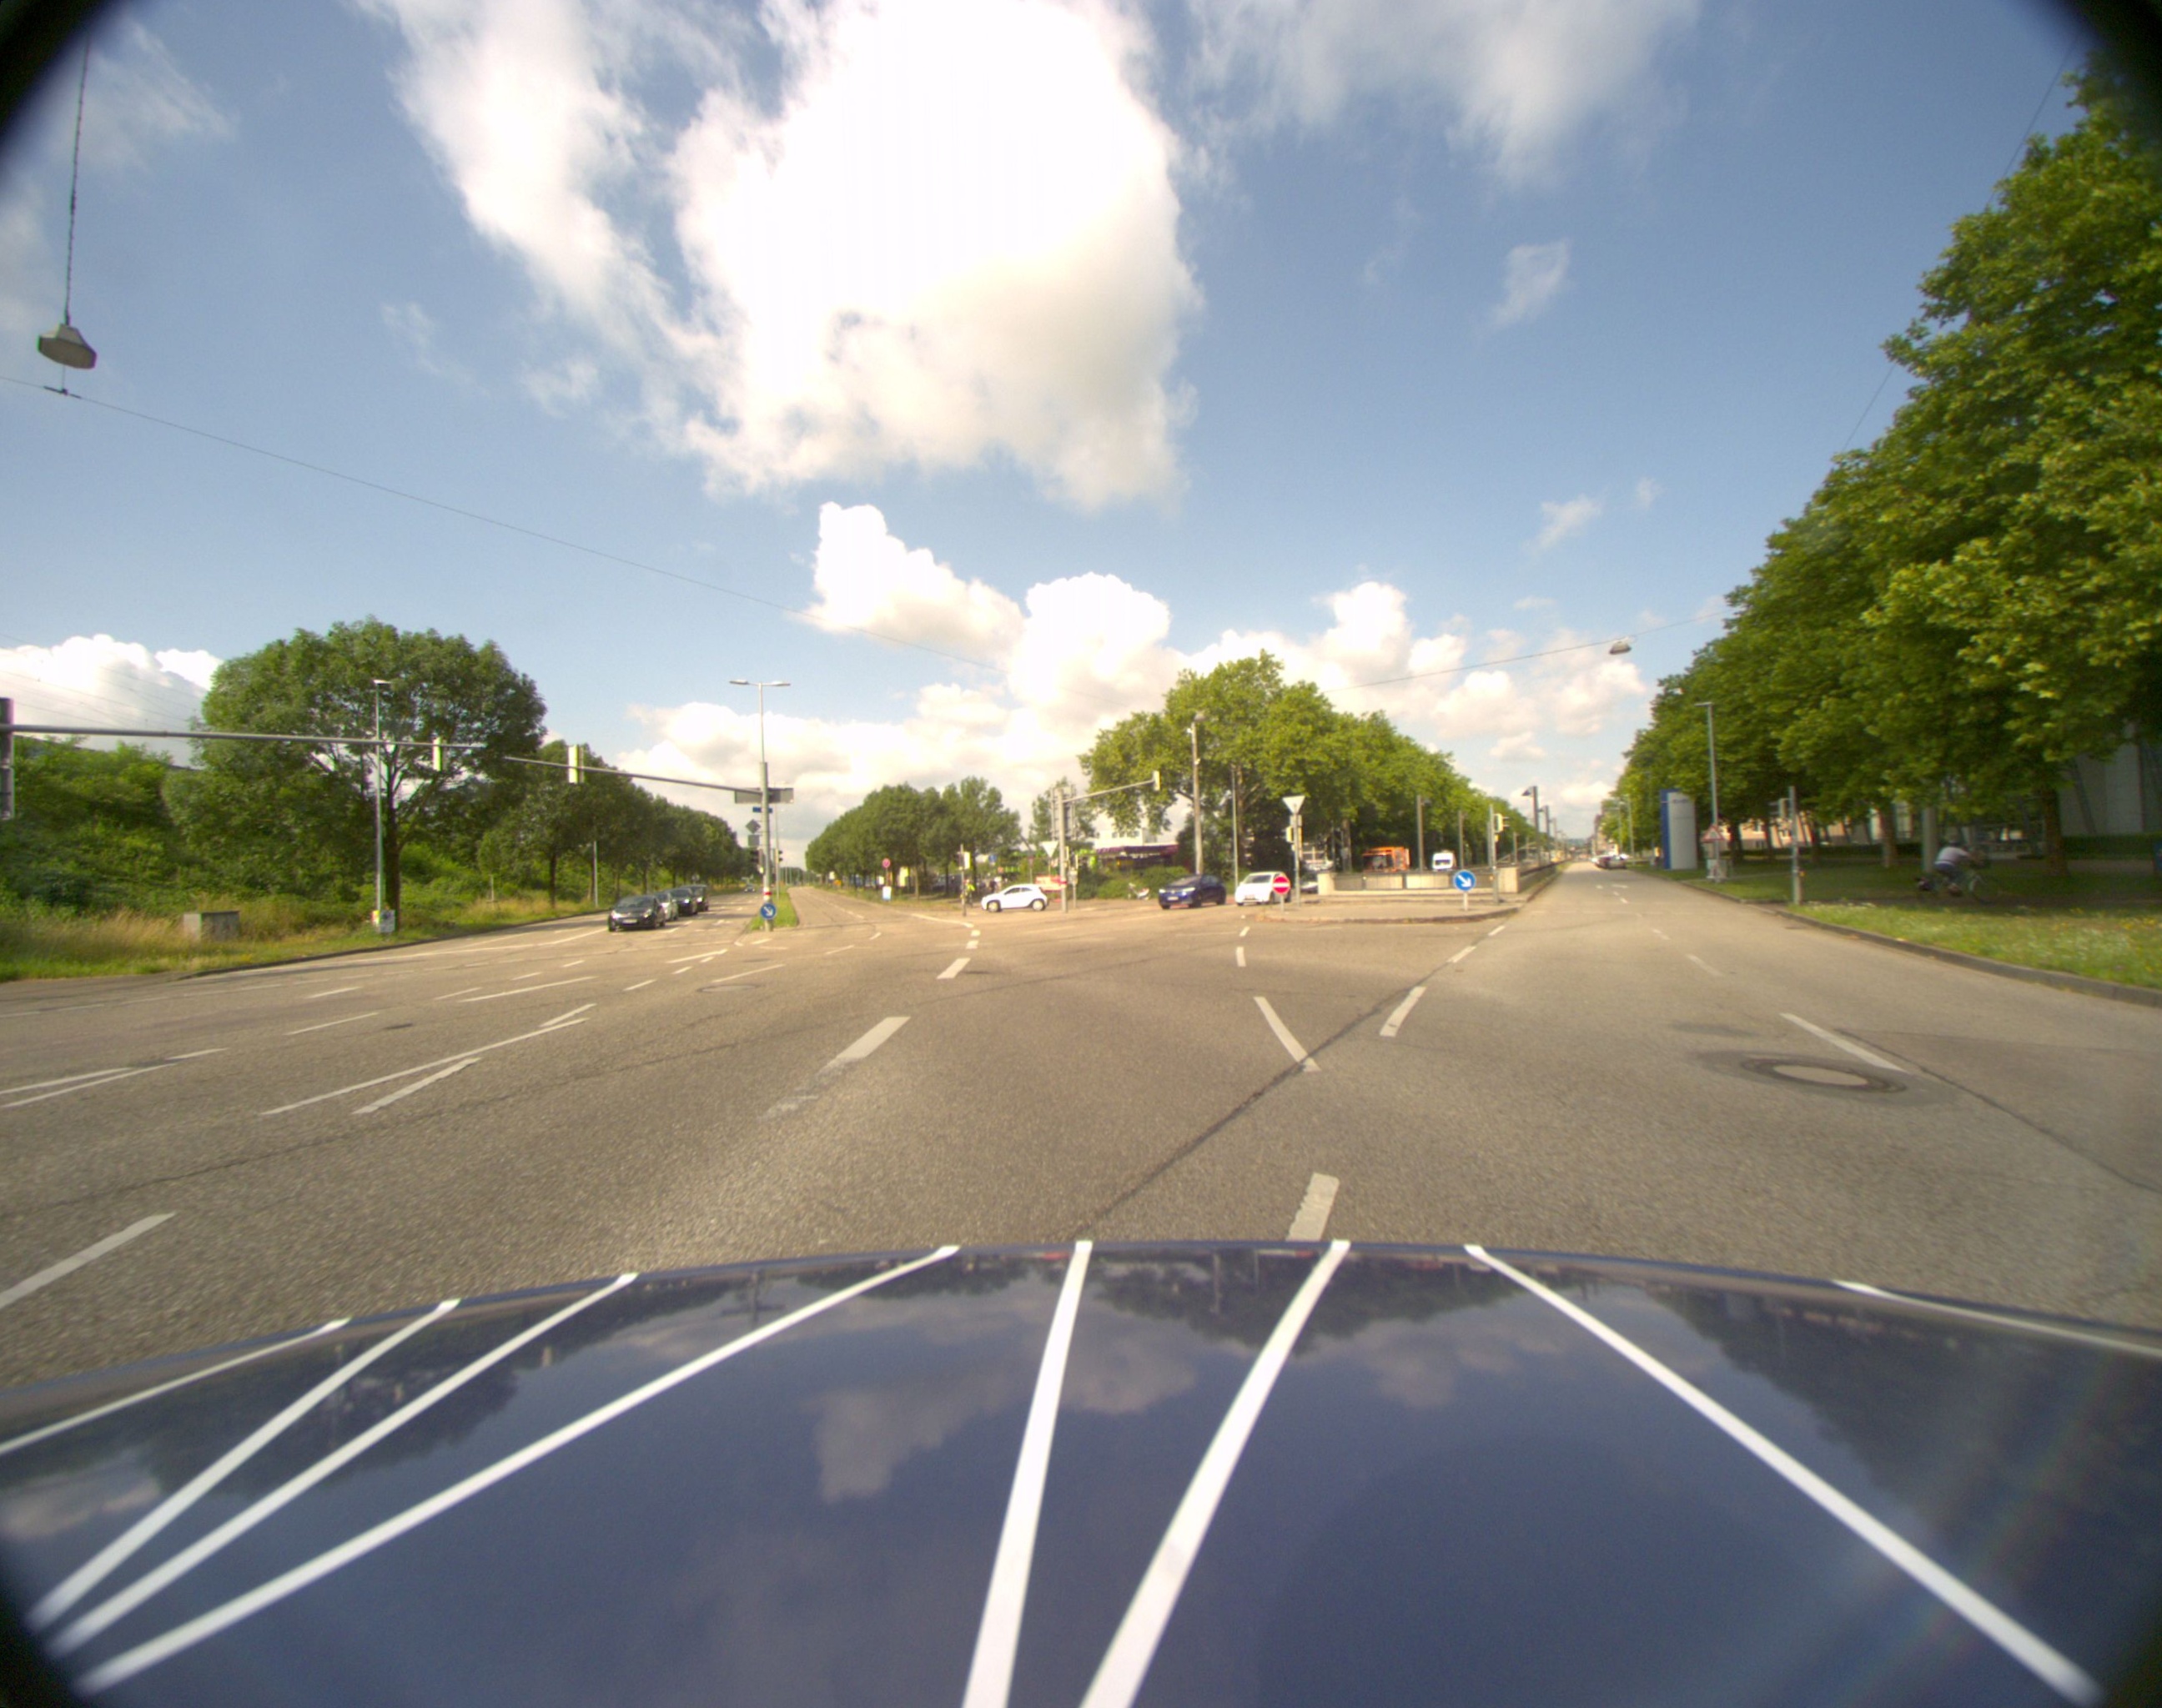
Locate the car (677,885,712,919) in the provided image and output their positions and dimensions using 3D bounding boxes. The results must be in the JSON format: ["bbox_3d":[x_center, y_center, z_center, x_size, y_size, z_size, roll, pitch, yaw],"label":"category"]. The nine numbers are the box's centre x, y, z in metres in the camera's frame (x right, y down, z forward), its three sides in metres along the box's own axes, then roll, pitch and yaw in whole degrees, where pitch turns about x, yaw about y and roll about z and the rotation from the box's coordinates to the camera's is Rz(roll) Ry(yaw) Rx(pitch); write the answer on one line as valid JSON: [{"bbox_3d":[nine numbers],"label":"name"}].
[{"bbox_3d":[-25.930,3.161,51.070,1.645,1.626,4.194,0,6,-21],"label":"car"}]

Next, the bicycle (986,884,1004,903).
[{"bbox_3d":[-5.921,2.701,52.293,0.792,1.189,2.230,-2,-1,-17],"label":"bicycle"}]

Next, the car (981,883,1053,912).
[{"bbox_3d":[-3.571,2.419,42.609,3.795,1.470,1.751,-2,-1,2],"label":"car"}]

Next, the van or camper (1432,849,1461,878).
[{"bbox_3d":[40.615,0.987,84.384,2.158,2.771,5.975,4,5,32],"label":"van or camper"}]

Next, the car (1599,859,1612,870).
[{"bbox_3d":[66.932,1.321,97.036,1.178,1.237,2.553,5,5,33],"label":"car"}]

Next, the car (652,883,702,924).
[{"bbox_3d":[-23.679,2.865,44.682,1.822,1.635,4.791,1,5,-18],"label":"car"}]

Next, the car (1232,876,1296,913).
[{"bbox_3d":[8.481,1.841,35.104,1.734,1.476,3.610,-6,-4,31],"label":"car"}]

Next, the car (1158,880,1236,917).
[{"bbox_3d":[5.632,2.070,36.310,1.887,1.565,4.590,-2,-2,33],"label":"car"}]

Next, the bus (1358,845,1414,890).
[{"bbox_3d":[29.060,1.103,72.051,2.738,3.448,10.412,4,5,33],"label":"bus"}]

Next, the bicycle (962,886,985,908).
[{"bbox_3d":[-6.986,2.762,49.437,0.678,1.190,2.227,-5,5,-28],"label":"bicycle"}]

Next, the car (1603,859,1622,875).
[{"bbox_3d":[60.670,1.468,86.832,1.578,1.427,3.162,6,6,33],"label":"car"}]

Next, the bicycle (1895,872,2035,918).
[{"bbox_3d":[23.249,1.085,20.064,2.177,1.079,0.888,-4,-2,27],"label":"bicycle"}]

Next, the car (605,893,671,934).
[{"bbox_3d":[-18.816,2.471,32.424,1.743,1.510,3.823,-1,-1,-19],"label":"car"}]

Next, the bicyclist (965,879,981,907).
[{"bbox_3d":[-7.026,2.530,49.593,0.678,1.671,0.835,-6,5,-29],"label":"bicyclist"}]

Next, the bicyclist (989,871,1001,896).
[{"bbox_3d":[-5.919,1.995,52.239,0.678,1.676,0.754,-2,-1,-17],"label":"bicyclist"}]

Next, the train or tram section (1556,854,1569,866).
[{"bbox_3d":[116.553,1.485,184.053,2.211,2.445,6.258,3,4,28],"label":"train or tram section"}]

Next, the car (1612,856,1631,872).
[{"bbox_3d":[58.036,1.040,81.573,1.417,1.449,3.162,6,6,33],"label":"car"}]

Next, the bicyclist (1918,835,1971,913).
[{"bbox_3d":[22.953,0.526,20.197,0.729,2.001,0.605,2,-1,27],"label":"bicyclist"}]

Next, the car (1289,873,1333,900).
[{"bbox_3d":[15.735,2.209,51.883,1.767,1.456,4.006,0,3,34],"label":"car"}]

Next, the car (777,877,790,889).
[{"bbox_3d":[-44.735,4.356,114.248,1.783,1.499,3.992,-1,1,-21],"label":"car"}]

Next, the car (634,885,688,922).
[{"bbox_3d":[-21.367,2.518,38.773,1.979,1.738,4.019,0,-3,-23],"label":"car"}]
